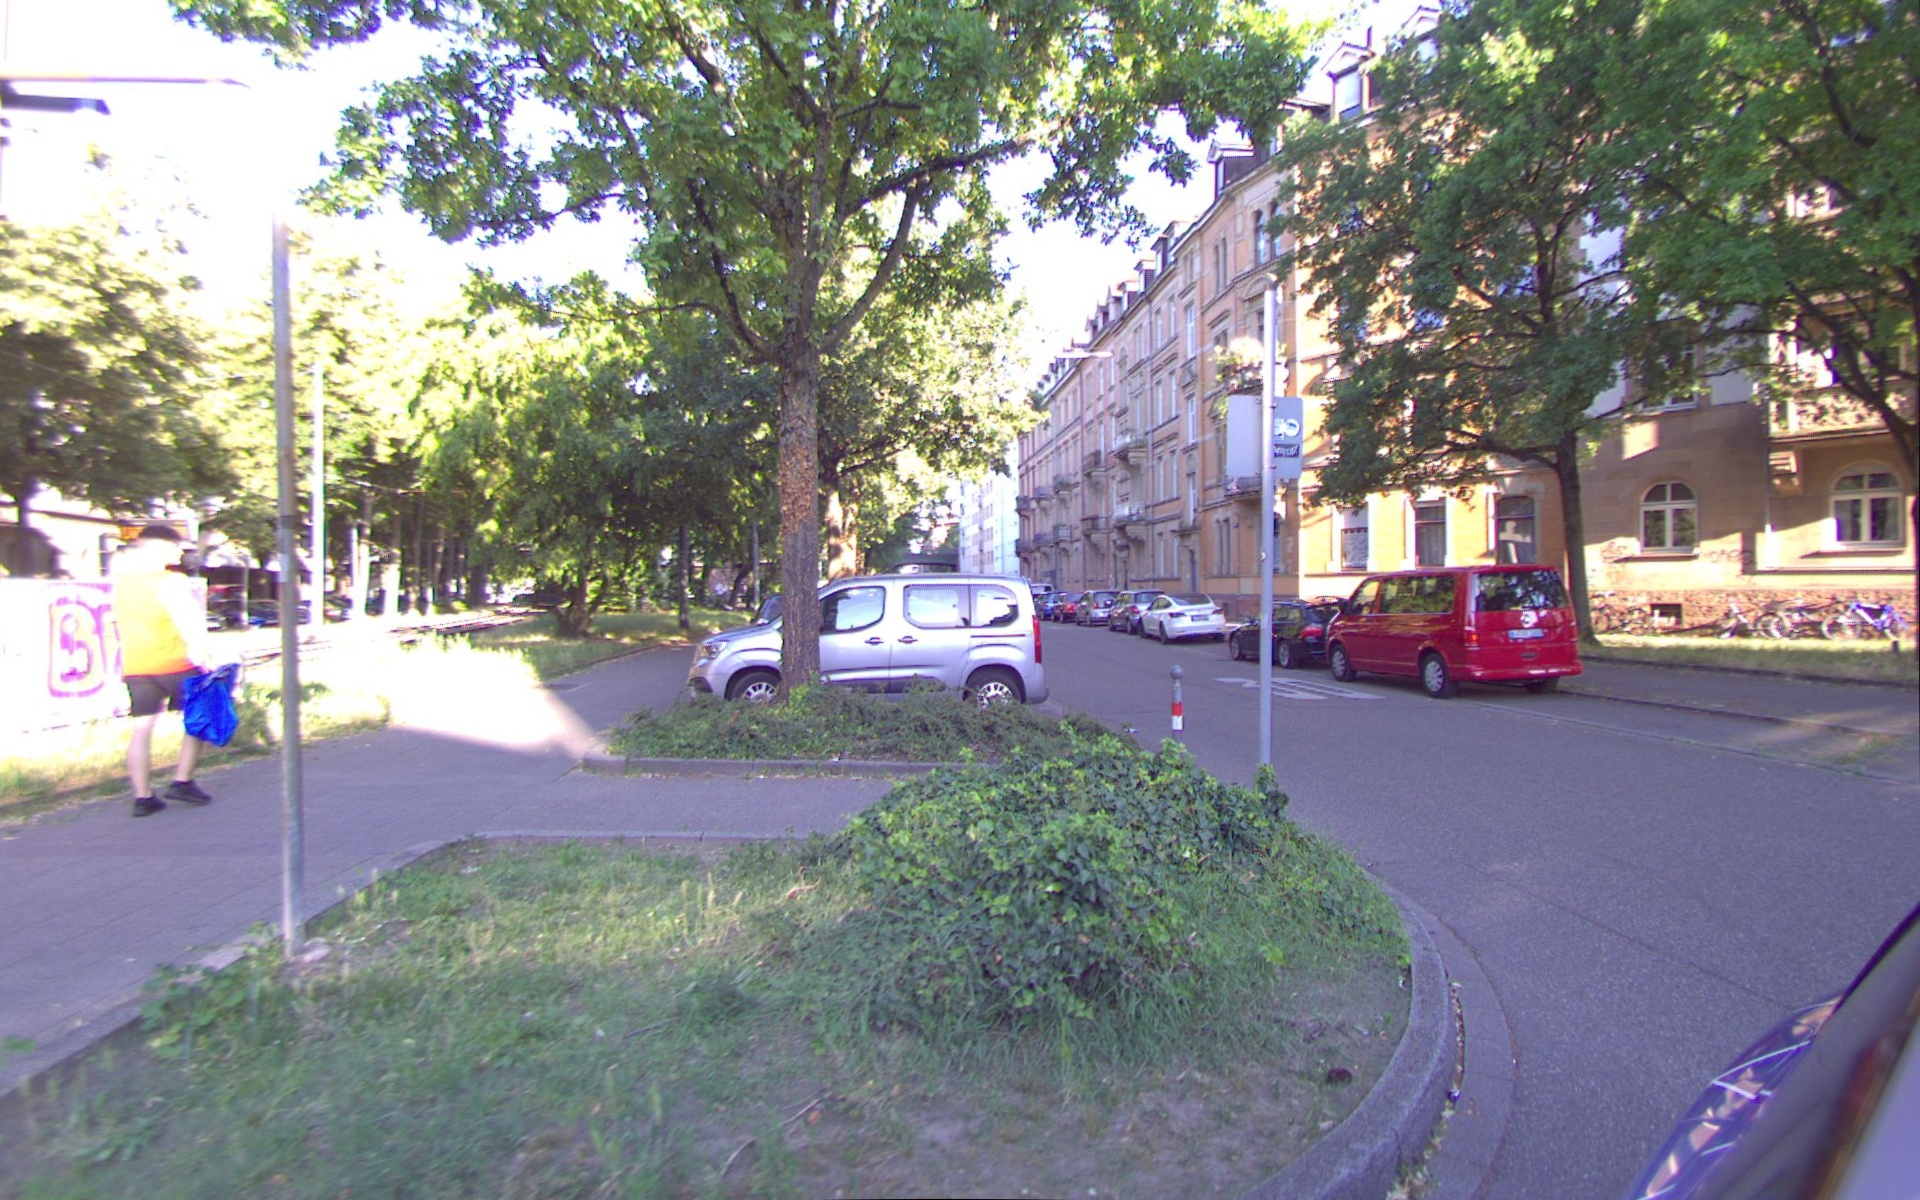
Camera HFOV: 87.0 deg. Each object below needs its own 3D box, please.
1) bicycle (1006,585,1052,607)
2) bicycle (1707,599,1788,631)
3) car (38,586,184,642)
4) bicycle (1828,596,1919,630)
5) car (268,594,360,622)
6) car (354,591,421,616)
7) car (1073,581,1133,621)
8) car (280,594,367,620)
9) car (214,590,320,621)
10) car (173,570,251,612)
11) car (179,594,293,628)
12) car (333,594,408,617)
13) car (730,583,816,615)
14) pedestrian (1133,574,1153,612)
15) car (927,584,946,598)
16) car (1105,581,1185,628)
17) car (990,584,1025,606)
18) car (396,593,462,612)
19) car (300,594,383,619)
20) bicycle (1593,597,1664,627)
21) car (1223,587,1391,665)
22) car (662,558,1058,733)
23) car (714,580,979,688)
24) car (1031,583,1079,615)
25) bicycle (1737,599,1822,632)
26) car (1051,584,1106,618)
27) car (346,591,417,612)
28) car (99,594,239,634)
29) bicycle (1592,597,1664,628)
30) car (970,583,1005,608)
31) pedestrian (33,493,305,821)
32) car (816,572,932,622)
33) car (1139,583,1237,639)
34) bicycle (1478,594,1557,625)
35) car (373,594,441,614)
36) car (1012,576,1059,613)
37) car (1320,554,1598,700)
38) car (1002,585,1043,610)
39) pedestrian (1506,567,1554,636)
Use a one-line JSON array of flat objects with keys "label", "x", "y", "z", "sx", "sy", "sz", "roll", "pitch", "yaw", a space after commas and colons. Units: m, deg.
[{"label": "bicycle", "x": 4.583, "y": -0.264, "z": 67.636, "sx": 2.985, "sy": 1.503, "sz": 0.818, "roll": 0, "pitch": 0, "yaw": -3}, {"label": "bicycle", "x": 19.001, "y": 0.346, "z": 24.439, "sx": 0.362, "sy": 0.741, "sz": 1.508, "roll": -1, "pitch": 1, "yaw": -40}, {"label": "car", "x": -27.448, "y": 0.400, "z": 32.728, "sx": 4.229, "sy": 1.716, "sz": 1.797, "roll": 0, "pitch": 1, "yaw": 21}, {"label": "bicycle", "x": 20.457, "y": 0.280, "z": 22.664, "sx": 0.362, "sy": 0.741, "sz": 1.508, "roll": -1, "pitch": 1, "yaw": -40}, {"label": "car", "x": -32.016, "y": 0.370, "z": 50.196, "sx": 3.945, "sy": 1.295, "sz": 1.739, "roll": 0, "pitch": 1, "yaw": 17}, {"label": "car", "x": -41.196, "y": 0.255, "z": 72.875, "sx": 3.927, "sy": 1.789, "sz": 1.747, "roll": 0, "pitch": 0, "yaw": 3}, {"label": "car", "x": 5.841, "y": 0.026, "z": 41.760, "sx": 1.656, "sy": 1.493, "sz": 3.712, "roll": -3, "pitch": 1, "yaw": -4}, {"label": "car", "x": -33.366, "y": 0.359, "z": 53.080, "sx": 3.945, "sy": 1.295, "sz": 1.739, "roll": 0, "pitch": 1, "yaw": 17}, {"label": "car", "x": -30.134, "y": 0.205, "z": 44.016, "sx": 3.945, "sy": 1.295, "sz": 1.739, "roll": 0, "pitch": 1, "yaw": 17}, {"label": "car", "x": -40.841, "y": -0.509, "z": 55.375, "sx": 1.958, "sy": 2.200, "sz": 4.622, "roll": 0, "pitch": 1, "yaw": -16}, {"label": "car", "x": -29.492, "y": 0.429, "z": 41.251, "sx": 3.945, "sy": 1.295, "sz": 1.739, "roll": 0, "pitch": 1, "yaw": 17}, {"label": "car", "x": -35.654, "y": 0.309, "z": 61.242, "sx": 3.945, "sy": 1.295, "sz": 1.739, "roll": 0, "pitch": 1, "yaw": 17}, {"label": "car", "x": -9.058, "y": -0.061, "z": 49.243, "sx": 3.921, "sy": 1.507, "sz": 1.686, "roll": 0, "pitch": 1, "yaw": -4}, {"label": "pedestrian", "x": 8.521, "y": -0.328, "z": 47.194, "sx": 0.662, "sy": 1.739, "sz": 0.723, "roll": -3, "pitch": 1, "yaw": -4}, {"label": "car", "x": -2.787, "y": -1.056, "z": 118.153, "sx": 1.845, "sy": 1.459, "sz": 4.397, "roll": -3, "pitch": 1, "yaw": -5}, {"label": "car", "x": 6.440, "y": 0.126, "z": 35.694, "sx": 1.655, "sy": 1.493, "sz": 3.887, "roll": -3, "pitch": 1, "yaw": -6}, {"label": "car", "x": 3.356, "y": -0.383, "z": 72.652, "sx": 1.845, "sy": 1.459, "sz": 4.397, "roll": -3, "pitch": 1, "yaw": -5}, {"label": "car", "x": -36.418, "y": 0.165, "z": 69.372, "sx": 3.945, "sy": 1.295, "sz": 1.739, "roll": 0, "pitch": 1, "yaw": 17}, {"label": "car", "x": -33.885, "y": 0.342, "z": 55.433, "sx": 3.945, "sy": 1.295, "sz": 1.739, "roll": 0, "pitch": 1, "yaw": 17}, {"label": "bicycle", "x": 17.498, "y": 0.311, "z": 26.516, "sx": 0.362, "sy": 0.741, "sz": 1.508, "roll": -1, "pitch": 1, "yaw": -40}, {"label": "car", "x": 7.453, "y": 0.488, "z": 22.197, "sx": 1.746, "sy": 1.451, "sz": 4.276, "roll": -3, "pitch": 1, "yaw": -7}, {"label": "car", "x": -1.165, "y": 0.478, "z": 12.468, "sx": 4.465, "sy": 1.938, "sz": 1.951, "roll": -1, "pitch": 2, "yaw": -2}, {"label": "car", "x": -1.916, "y": 0.547, "z": 17.763, "sx": 4.363, "sy": 1.712, "sz": 1.951, "roll": -1, "pitch": 2, "yaw": -2}, {"label": "car", "x": 4.834, "y": -0.074, "z": 52.036, "sx": 1.734, "sy": 1.456, "sz": 3.892, "roll": -3, "pitch": 1, "yaw": -5}, {"label": "bicycle", "x": 19.142, "y": 0.356, "z": 23.669, "sx": 0.362, "sy": 0.741, "sz": 1.508, "roll": -1, "pitch": 1, "yaw": -40}, {"label": "car", "x": 5.440, "y": 0.005, "z": 47.003, "sx": 1.734, "sy": 1.401, "sz": 4.293, "roll": -3, "pitch": 1, "yaw": -4}, {"label": "car", "x": -36.943, "y": 0.100, "z": 64.640, "sx": 3.945, "sy": 1.295, "sz": 1.739, "roll": 0, "pitch": 1, "yaw": 17}, {"label": "car", "x": -27.644, "y": 0.458, "z": 35.386, "sx": 4.224, "sy": 1.295, "sz": 1.799, "roll": 0, "pitch": 1, "yaw": 18}, {"label": "bicycle", "x": 17.255, "y": 0.313, "z": 26.178, "sx": 0.408, "sy": 0.741, "sz": 1.508, "roll": -1, "pitch": 1, "yaw": -40}, {"label": "car", "x": 1.880, "y": -0.307, "z": 69.545, "sx": 1.845, "sy": 1.555, "sz": 4.397, "roll": -3, "pitch": 1, "yaw": -5}, {"label": "pedestrian", "x": -5.105, "y": 0.338, "z": 6.635, "sx": 0.887, "sy": 1.942, "sz": 1.151, "roll": 1, "pitch": 0, "yaw": -4}, {"label": "car", "x": -3.620, "y": -0.127, "z": 42.726, "sx": 4.764, "sy": 2.064, "sz": 2.157, "roll": 0, "pitch": 0, "yaw": -4}, {"label": "car", "x": 6.796, "y": 0.266, "z": 30.645, "sx": 1.747, "sy": 1.493, "sz": 4.273, "roll": -3, "pitch": 1, "yaw": -3}, {"label": "bicycle", "x": 15.807, "y": 0.267, "z": 28.728, "sx": 0.516, "sy": 0.858, "sz": 1.896, "roll": -1, "pitch": 0, "yaw": -40}, {"label": "car", "x": -36.695, "y": 0.233, "z": 67.177, "sx": 3.945, "sy": 1.295, "sz": 1.739, "roll": 0, "pitch": 1, "yaw": 17}, {"label": "car", "x": 4.235, "y": -0.325, "z": 57.645, "sx": 1.875, "sy": 1.906, "sz": 4.730, "roll": -3, "pitch": 1, "yaw": -5}, {"label": "car", "x": 7.818, "y": 0.340, "z": 16.489, "sx": 1.746, "sy": 1.958, "sz": 4.777, "roll": -3, "pitch": 1, "yaw": -5}, {"label": "car", "x": 3.887, "y": -0.178, "z": 63.383, "sx": 1.845, "sy": 1.459, "sz": 4.397, "roll": -3, "pitch": 1, "yaw": -5}, {"label": "pedestrian", "x": 14.727, "y": 0.038, "z": 26.160, "sx": 0.664, "sy": 1.739, "sz": 0.910, "roll": -2, "pitch": 1, "yaw": -41}]
